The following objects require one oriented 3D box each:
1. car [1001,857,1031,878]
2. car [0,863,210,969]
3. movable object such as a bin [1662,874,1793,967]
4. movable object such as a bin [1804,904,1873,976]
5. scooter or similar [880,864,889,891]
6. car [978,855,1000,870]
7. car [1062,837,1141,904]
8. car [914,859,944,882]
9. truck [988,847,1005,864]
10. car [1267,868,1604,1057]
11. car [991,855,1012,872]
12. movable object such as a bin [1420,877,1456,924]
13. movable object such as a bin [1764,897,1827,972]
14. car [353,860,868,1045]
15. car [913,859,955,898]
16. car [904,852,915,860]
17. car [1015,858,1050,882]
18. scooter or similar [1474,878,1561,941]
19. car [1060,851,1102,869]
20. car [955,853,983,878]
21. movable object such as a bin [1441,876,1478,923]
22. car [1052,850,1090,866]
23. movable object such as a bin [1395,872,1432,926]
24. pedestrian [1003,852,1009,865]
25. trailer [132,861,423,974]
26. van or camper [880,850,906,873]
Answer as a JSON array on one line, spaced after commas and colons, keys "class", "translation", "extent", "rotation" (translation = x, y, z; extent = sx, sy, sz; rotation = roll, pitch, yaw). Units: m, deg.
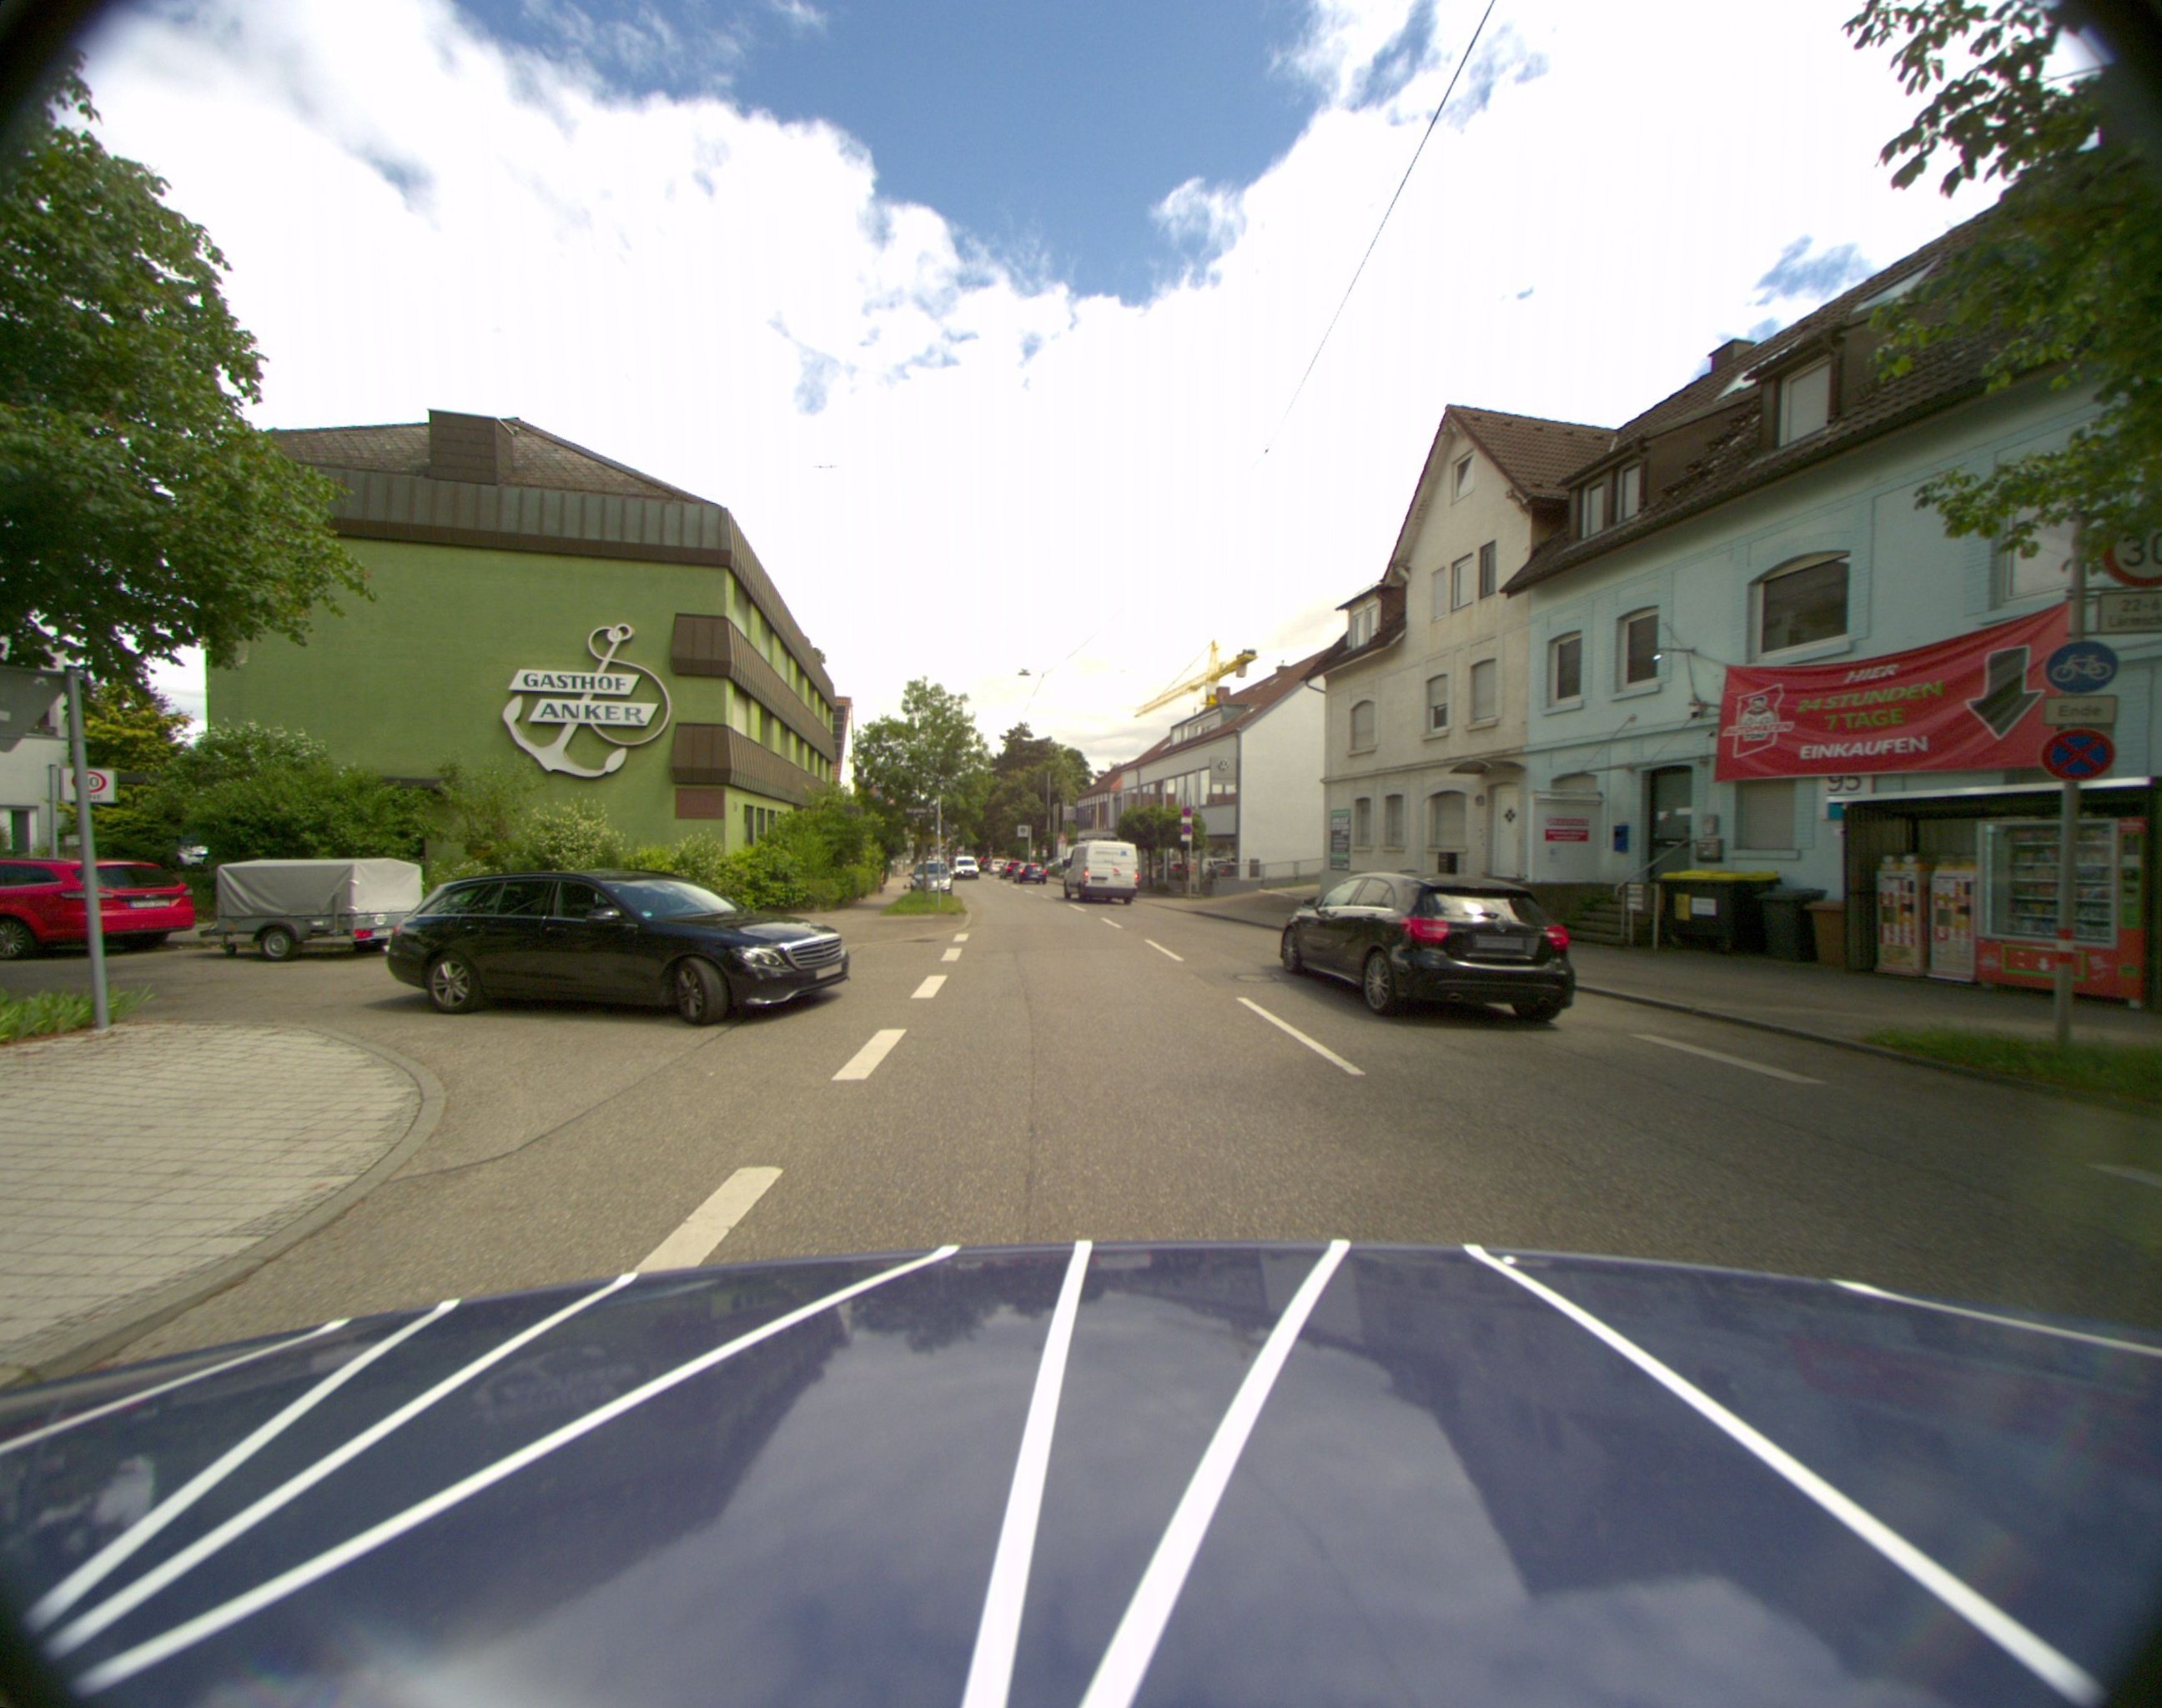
[{"class": "car", "translation": [-5.248, 1.036, 60.810], "extent": [1.782, 1.514, 4.456], "rotation": [0, 1, -12]}, {"class": "car", "translation": [-16.703, 0.899, 11.780], "extent": [4.254, 1.437, 1.731], "rotation": [1, 1, -3]}, {"class": "movable object such as a bin", "translation": [10.400, 1.036, 12.276], "extent": [1.023, 1.347, 1.245], "rotation": [-1, 2, -13]}, {"class": "movable object such as a bin", "translation": [10.661, 1.199, 10.700], "extent": [0.448, 0.927, 0.517], "rotation": [-1, 2, -13]}, {"class": "scooter or similar", "translation": [-9.621, 1.156, 37.240], "extent": [0.302, 1.297, 1.403], "rotation": [3, -1, -11]}, {"class": "car", "translation": [-10.251, 0.920, 84.639], "extent": [1.838, 1.514, 4.164], "rotation": [0, 1, -15]}, {"class": "car", "translation": [0.675, 0.635, 30.140], "extent": [2.070, 2.339, 5.178], "rotation": [3, -1, -10]}, {"class": "car", "translation": [-10.597, 1.126, 52.991], "extent": [1.991, 1.440, 4.746], "rotation": [0, 1, -11]}, {"class": "truck", "translation": [-13.221, 0.178, 118.760], "extent": [2.314, 2.406, 6.086], "rotation": [-1, 1, -10]}, {"class": "car", "translation": [3.654, 1.005, 8.820], "extent": [1.691, 1.473, 4.225], "rotation": [3, 0, -3]}, {"class": "car", "translation": [-7.866, 0.887, 74.966], "extent": [1.696, 1.570, 3.795], "rotation": [0, 1, -12]}, {"class": "movable object such as a bin", "translation": [8.824, 1.146, 18.781], "extent": [0.566, 1.095, 0.562], "rotation": [-2, 2, -15]}, {"class": "movable object such as a bin", "translation": [10.546, 1.170, 11.221], "extent": [0.434, 1.034, 0.517], "rotation": [-1, 2, -13]}, {"class": "car", "translation": [-4.914, 0.936, 8.183], "extent": [4.679, 1.619, 1.811], "rotation": [-1, 1, 11]}, {"class": "car", "translation": [-6.511, 1.055, 33.935], "extent": [1.695, 1.656, 4.459], "rotation": [0, -1, -9]}, {"class": "car", "translation": [-30.440, 0.262, 134.799], "extent": [1.791, 1.309, 4.475], "rotation": [1, 1, -14]}, {"class": "car", "translation": [-3.258, 1.042, 50.217], "extent": [1.777, 1.417, 4.104], "rotation": [2, 0, -11]}, {"class": "scooter or similar", "translation": [8.857, 1.110, 15.433], "extent": [1.559, 1.177, 0.545], "rotation": [-1, 2, -11]}, {"class": "car", "translation": [-0.030, 0.586, 78.177], "extent": [4.027, 1.621, 1.652], "rotation": [-2, 1, -13]}, {"class": "car", "translation": [-8.919, 0.873, 60.181], "extent": [1.967, 1.797, 4.424], "rotation": [-2, 1, -11]}, {"class": "movable object such as a bin", "translation": [9.418, 1.120, 18.913], "extent": [0.566, 1.095, 0.562], "rotation": [-2, 2, -15]}, {"class": "car", "translation": [-1.048, 0.386, 81.026], "extent": [3.753, 1.551, 1.533], "rotation": [-2, 1, -13]}, {"class": "movable object such as a bin", "translation": [8.140, 1.093, 18.599], "extent": [0.566, 1.266, 0.562], "rotation": [-2, 1, -15]}, {"class": "pedestrian", "translation": [-9.609, 0.560, 96.978], "extent": [0.685, 1.727, 0.867], "rotation": [-1, 2, -12]}, {"class": "trailer", "translation": [-12.626, 0.953, 12.052], "extent": [3.166, 1.572, 1.393], "rotation": [2, 0, 2]}, {"class": "van or camper", "translation": [-17.803, 0.645, 72.011], "extent": [1.873, 2.020, 4.543], "rotation": [-1, 1, -8]}]
